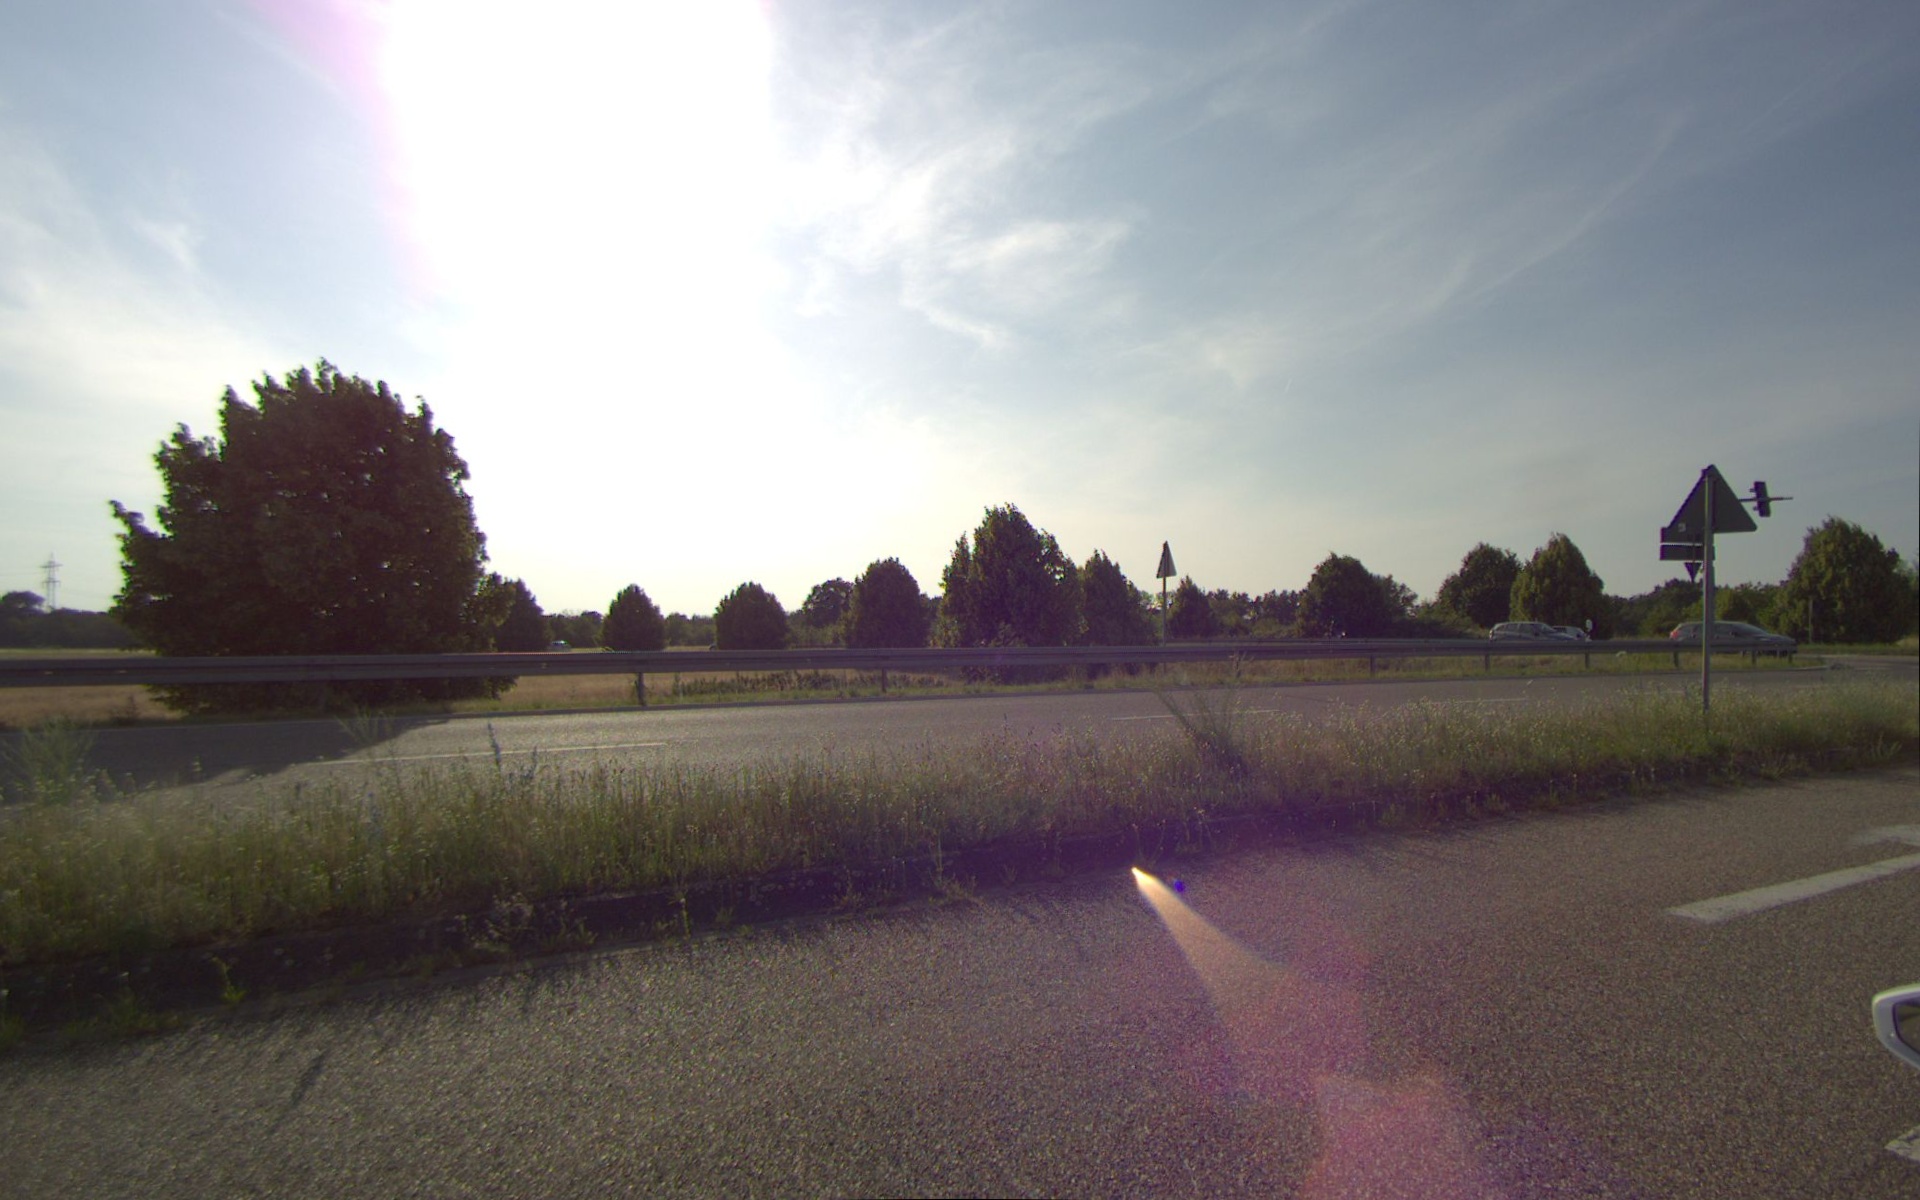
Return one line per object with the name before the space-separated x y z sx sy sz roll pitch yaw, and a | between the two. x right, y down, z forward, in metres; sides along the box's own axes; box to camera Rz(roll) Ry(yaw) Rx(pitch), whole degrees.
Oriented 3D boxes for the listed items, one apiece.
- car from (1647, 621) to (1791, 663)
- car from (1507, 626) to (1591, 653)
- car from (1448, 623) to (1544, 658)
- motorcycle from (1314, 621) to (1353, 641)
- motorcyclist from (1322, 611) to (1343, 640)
car | 31.333 1.700 41.636 1.789 1.586 4.507 1 0 -22
car | 35.403 2.352 60.441 1.978 1.560 3.965 1 -1 -32
car | 27.415 2.051 51.517 1.765 1.626 4.171 2 -1 -24
motorcycle | 23.033 1.894 61.965 0.932 1.139 2.149 1 0 -36
motorcyclist | 22.994 1.563 62.003 0.898 1.781 0.823 1 0 -36
